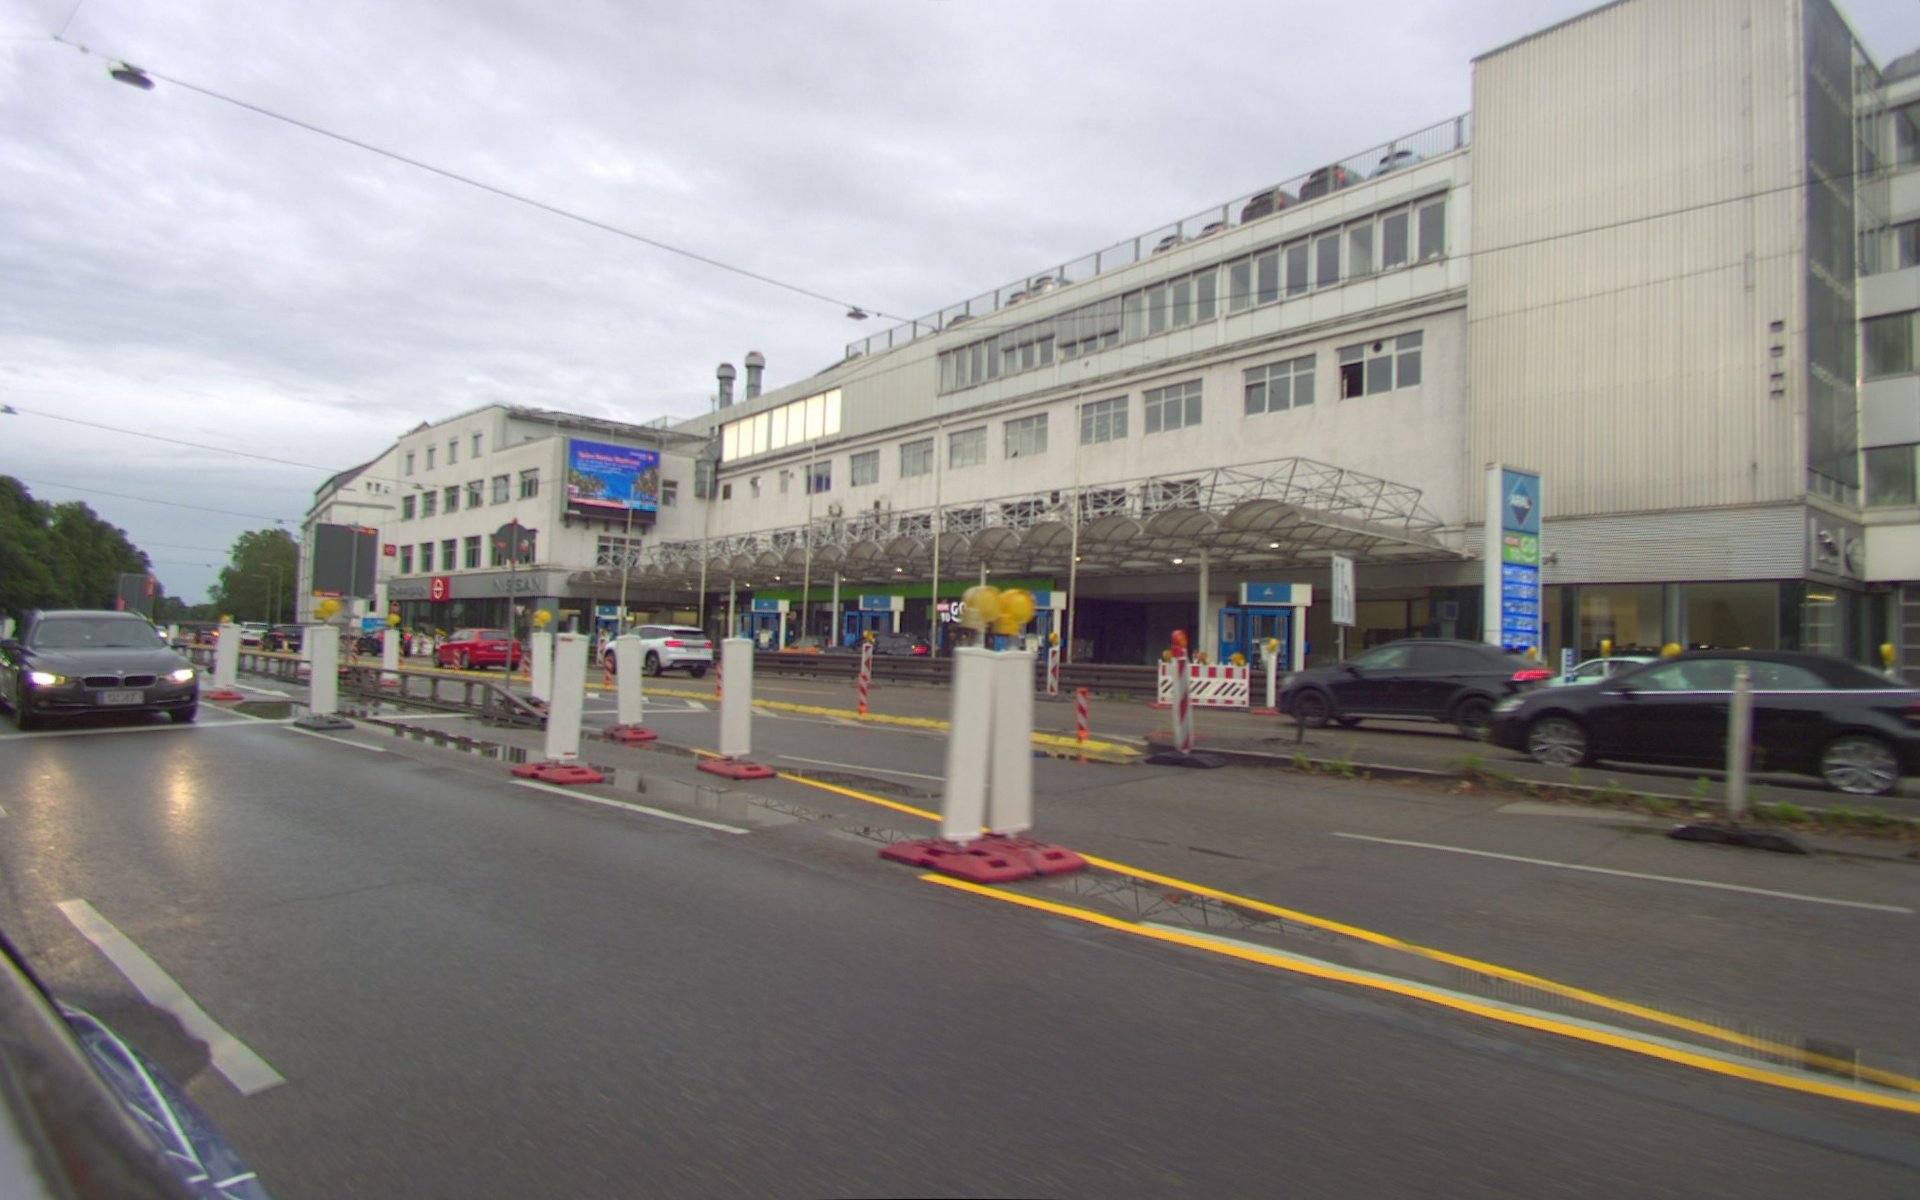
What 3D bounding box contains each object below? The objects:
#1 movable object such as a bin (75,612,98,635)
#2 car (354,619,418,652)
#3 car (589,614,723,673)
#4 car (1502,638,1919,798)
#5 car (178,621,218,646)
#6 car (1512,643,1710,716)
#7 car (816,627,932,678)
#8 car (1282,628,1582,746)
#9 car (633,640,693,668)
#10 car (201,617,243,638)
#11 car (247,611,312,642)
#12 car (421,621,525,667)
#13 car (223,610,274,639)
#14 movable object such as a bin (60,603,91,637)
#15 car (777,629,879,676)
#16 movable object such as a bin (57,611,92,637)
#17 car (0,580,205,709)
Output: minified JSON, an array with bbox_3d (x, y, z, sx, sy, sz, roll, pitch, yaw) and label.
[{"bbox_3d":[-84.814,2.309,98.271,1.378,2.060,4.093,5,-5,-38],"label":"movable object such as a bin"},{"bbox_3d":[-30.164,1.850,53.167,4.078,1.548,1.691,0,-5,43],"label":"car"},{"bbox_3d":[-9.990,1.391,33.085,4.831,1.720,1.958,0,-3,43],"label":"car"},{"bbox_3d":[8.306,1.190,10.869,4.113,1.364,1.671,0,-4,42],"label":"car"},{"bbox_3d":[-68.449,3.005,90.882,5.233,1.951,1.971,0,-5,44],"label":"car"},{"bbox_3d":[15.819,1.900,24.704,1.632,1.546,3.761,6,-4,-41],"label":"car"},{"bbox_3d":[-3.455,2.097,40.357,4.411,1.691,2.016,4,-4,-6],"label":"car"},{"bbox_3d":[7.446,1.314,16.160,3.999,1.525,1.733,1,-3,42],"label":"car"},{"bbox_3d":[-18.216,3.291,62.034,1.792,1.494,3.970,6,-4,-44],"label":"car"},{"bbox_3d":[-58.263,2.155,79.887,4.708,1.477,1.830,0,-4,44],"label":"car"},{"bbox_3d":[-36.630,1.432,54.426,4.300,1.533,1.937,-1,-4,43],"label":"car"},{"bbox_3d":[-16.778,1.505,34.757,4.289,1.414,1.716,0,-3,43],"label":"car"},{"bbox_3d":[-45.233,1.566,64.336,1.915,1.702,4.584,6,-4,-43],"label":"car"},{"bbox_3d":[-80.829,1.837,92.514,1.799,2.934,3.614,6,-6,-38],"label":"movable object such as a bin"},{"bbox_3d":[-5.895,2.372,45.473,4.378,1.784,1.970,4,-4,-6],"label":"car"},{"bbox_3d":[-77.458,2.141,88.599,1.968,2.128,3.856,5,-5,-38],"label":"movable object such as a bin"},{"bbox_3d":[-11.717,0.543,13.575,4.177,1.461,1.740,0,-2,42],"label":"car"}]
